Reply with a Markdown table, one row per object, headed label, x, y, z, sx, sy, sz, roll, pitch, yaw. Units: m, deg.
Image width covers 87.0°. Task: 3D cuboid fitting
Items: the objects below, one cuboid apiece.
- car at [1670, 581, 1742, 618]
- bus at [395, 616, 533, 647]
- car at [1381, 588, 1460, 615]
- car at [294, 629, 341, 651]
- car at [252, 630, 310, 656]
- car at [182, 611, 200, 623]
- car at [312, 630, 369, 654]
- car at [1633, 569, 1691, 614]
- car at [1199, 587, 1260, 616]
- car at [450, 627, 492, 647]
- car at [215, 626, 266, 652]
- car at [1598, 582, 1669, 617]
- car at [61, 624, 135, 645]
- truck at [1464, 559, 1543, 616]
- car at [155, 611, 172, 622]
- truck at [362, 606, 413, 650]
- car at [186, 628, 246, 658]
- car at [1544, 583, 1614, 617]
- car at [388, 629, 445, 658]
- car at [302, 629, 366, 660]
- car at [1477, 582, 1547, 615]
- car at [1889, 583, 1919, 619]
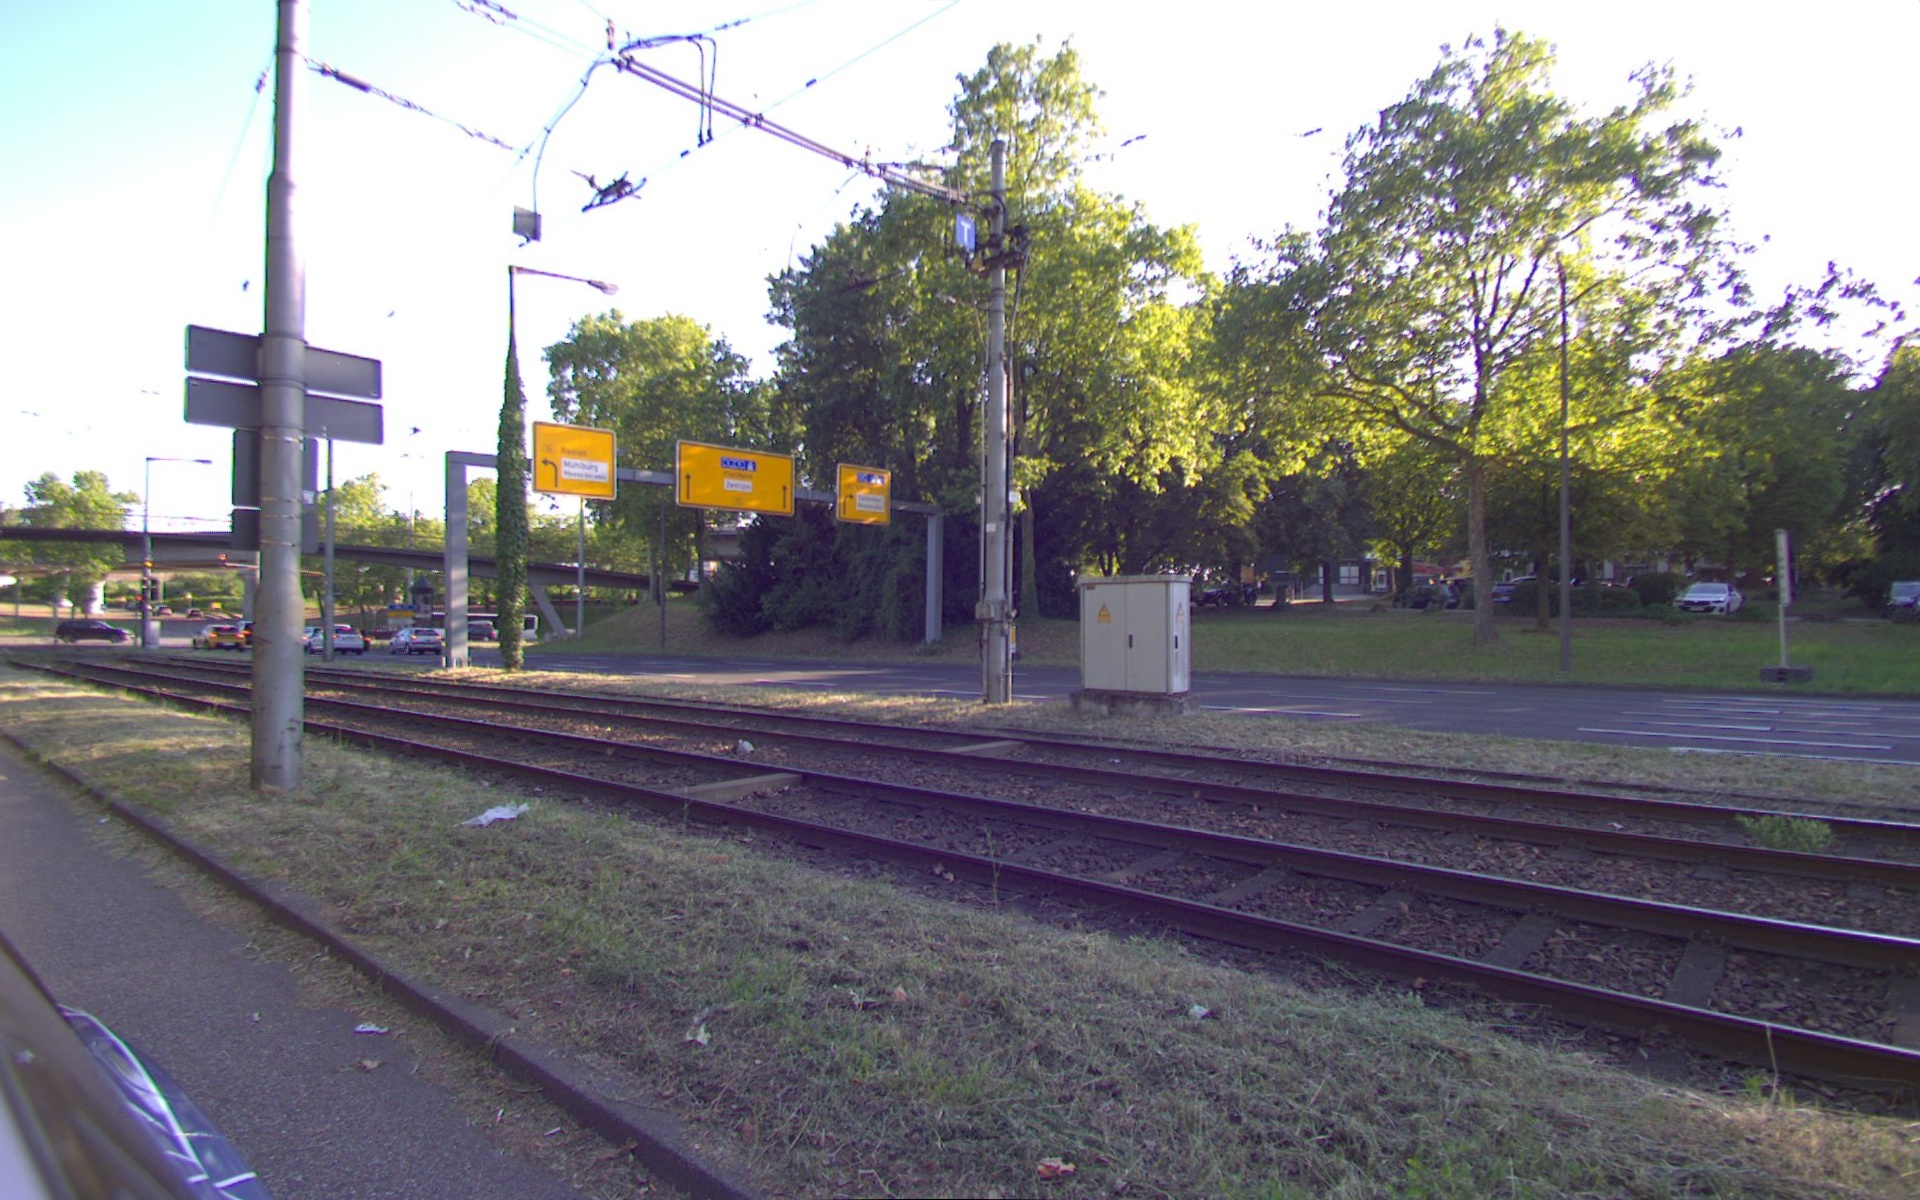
| label | x | y | z | sx | sy | sz | roll | pitch | yaw |
| --- | --- | --- | --- | --- | --- | --- | --- | --- | --- |
| car | 32.042 | -0.044 | 43.429 | 1.942 | 1.521 | 4.039 | -1 | 0 | 44 |
| bus | -52.162 | 3.239 | 106.885 | 12.965 | 2.884 | 2.425 | -1 | 0 | -25 |
| car | 25.949 | 0.076 | 57.077 | 3.725 | 1.474 | 1.651 | 0 | 1 | 44 |
| car | -43.717 | 2.715 | 68.854 | 1.891 | 1.435 | 4.229 | 0 | -2 | -44 |
| car | -39.869 | 2.526 | 59.382 | 4.225 | 1.435 | 1.893 | -2 | -1 | 42 |
| car | -116.058 | 2.550 | 152.720 | 1.806 | 1.630 | 3.986 | -1 | 0 | -43 |
| car | -38.964 | 2.619 | 63.597 | 4.224 | 1.435 | 1.844 | -2 | -1 | 40 |
| car | 37.364 | -0.446 | 53.825 | 2.161 | 2.320 | 4.348 | -1 | 0 | 40 |
| car | 15.875 | 0.088 | 59.539 | 1.791 | 1.657 | 3.942 | -2 | -1 | 44 |
| car | -49.633 | 3.753 | 102.750 | 3.748 | 1.872 | 1.682 | -1 | 0 | -30 |
| car | -45.296 | 2.435 | 63.674 | 4.228 | 1.561 | 1.892 | -2 | -2 | 44 |
| car | 30.515 | -0.032 | 45.804 | 1.942 | 1.521 | 4.039 | -1 | 0 | 44 |
| car | -65.069 | 2.589 | 76.463 | 3.945 | 1.504 | 1.701 | -1 | 0 | -30 |
| truck | 32.220 | -0.710 | 59.870 | 2.503 | 3.191 | 6.137 | -1 | 0 | 45 |
| car | -126.707 | 2.626 | 160.945 | 1.806 | 1.630 | 3.986 | -1 | 0 | -43 |
| truck | -39.820 | 1.948 | 70.341 | 2.248 | 2.901 | 6.895 | 0 | -1 | -37 |
| car | -40.318 | 2.308 | 54.828 | 3.997 | 1.556 | 1.744 | -2 | -1 | 40 |
| car | 28.906 | -0.016 | 47.241 | 1.942 | 1.521 | 4.039 | -1 | 0 | 44 |
| car | -30.144 | 2.378 | 56.080 | 1.787 | 1.556 | 4.004 | 0 | -1 | -43 |
| car | -33.140 | 2.309 | 53.560 | 3.997 | 1.556 | 1.744 | -2 | -1 | 40 |
| car | 26.650 | -0.066 | 48.769 | 1.942 | 1.521 | 4.039 | -1 | 0 | 44 |
| car | 44.449 | 0.017 | 46.812 | 3.998 | 1.628 | 1.864 | -1 | 0 | -43 |
